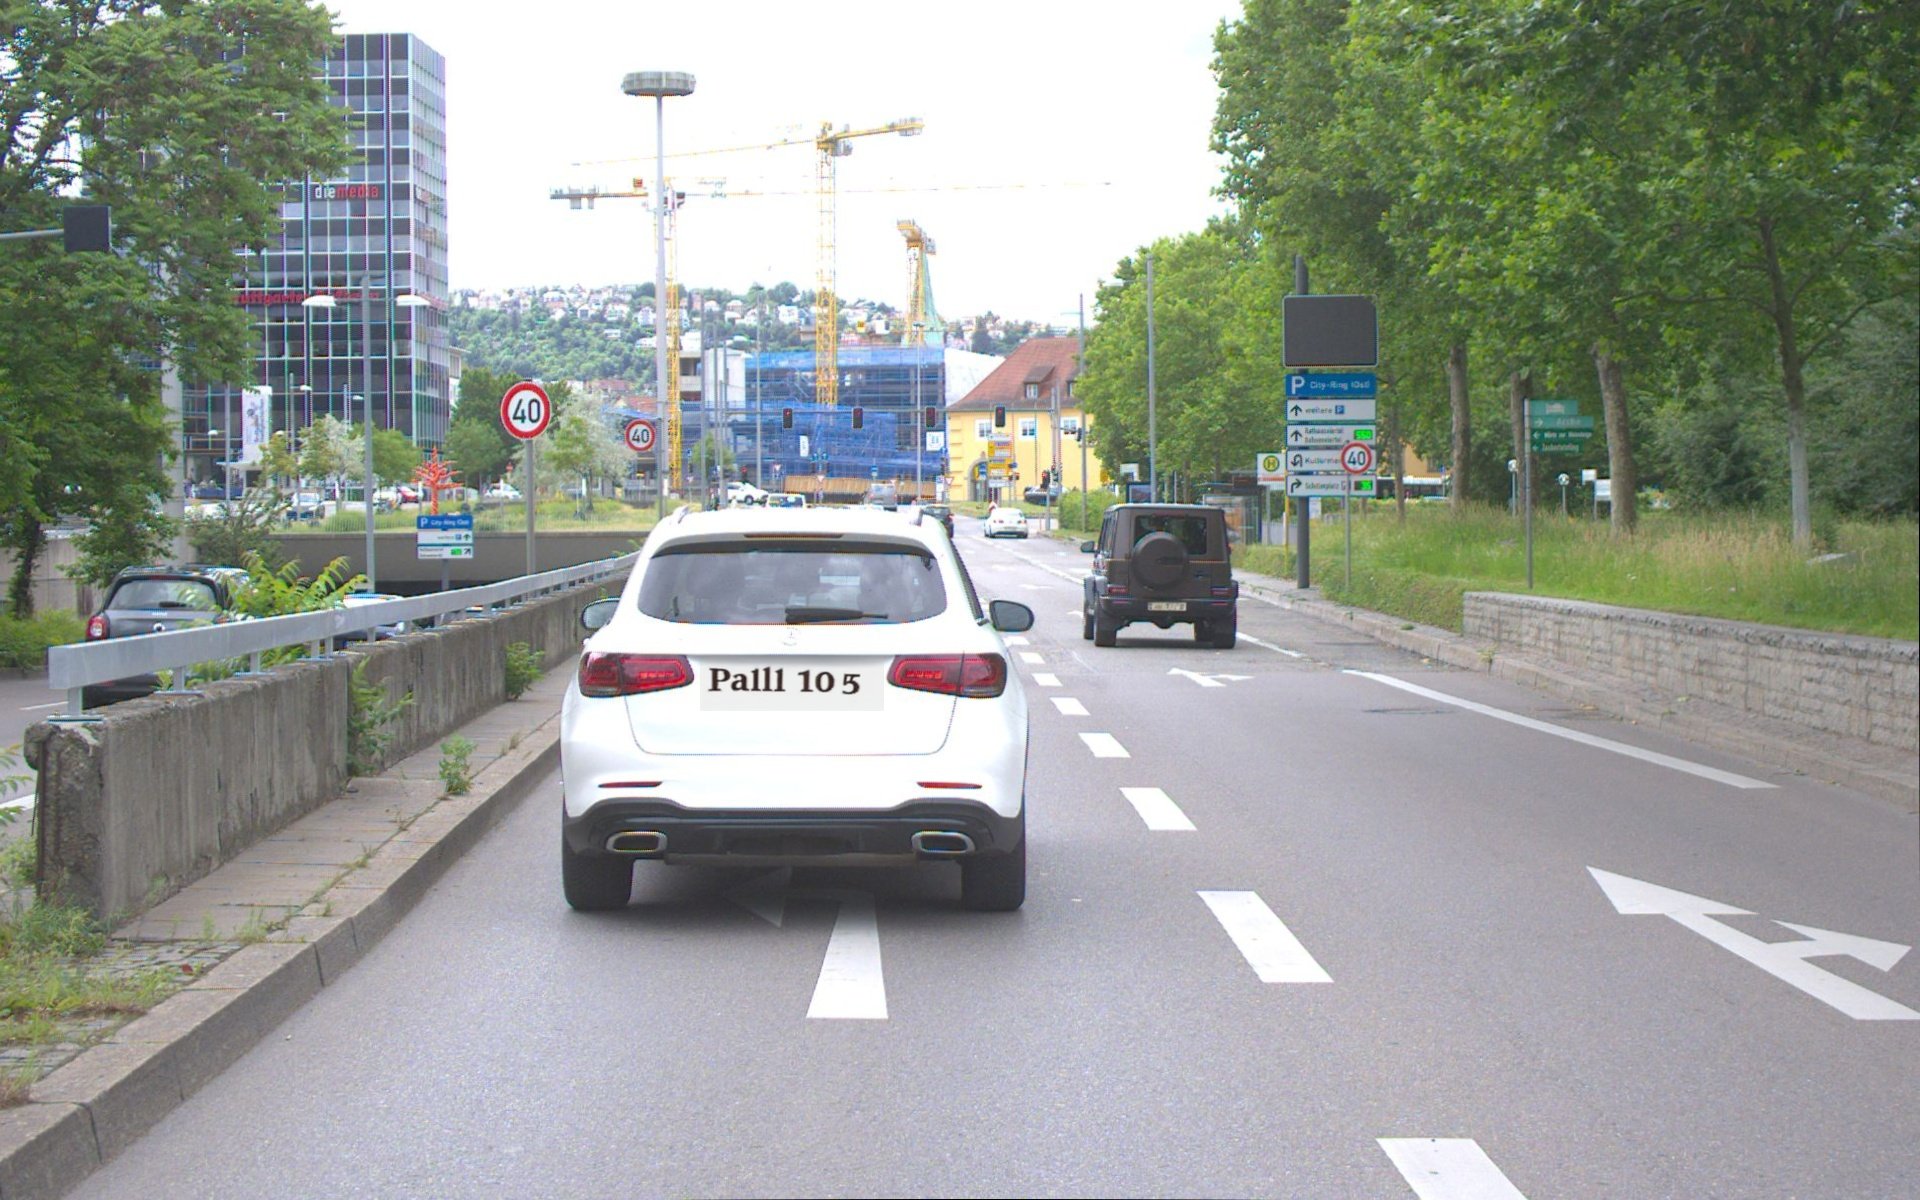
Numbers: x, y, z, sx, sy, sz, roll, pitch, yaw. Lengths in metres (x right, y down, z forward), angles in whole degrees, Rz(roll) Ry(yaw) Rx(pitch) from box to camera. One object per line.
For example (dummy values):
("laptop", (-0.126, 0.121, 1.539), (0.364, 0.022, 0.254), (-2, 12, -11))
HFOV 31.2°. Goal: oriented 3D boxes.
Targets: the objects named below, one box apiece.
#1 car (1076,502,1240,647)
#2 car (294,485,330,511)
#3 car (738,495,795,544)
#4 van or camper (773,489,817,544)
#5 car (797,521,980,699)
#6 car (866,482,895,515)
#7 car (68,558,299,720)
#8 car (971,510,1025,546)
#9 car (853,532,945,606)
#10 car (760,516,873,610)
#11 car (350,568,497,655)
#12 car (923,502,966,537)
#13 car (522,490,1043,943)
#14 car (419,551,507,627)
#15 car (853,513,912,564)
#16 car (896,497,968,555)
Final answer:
("car", (2.761, -0.357, 48.903), (1.977, 1.887, 4.707), (2, 0, 0))
("car", (-38.105, -5.973, 202.107), (1.831, 1.355, 3.869), (2, 0, -8))
("car", (-7.364, -3.056, 131.168), (1.993, 1.751, 4.000), (2, 0, -1))
("van or camper", (-7.450, -3.771, 155.266), (1.922, 2.312, 4.000), (1, -1, -3))
("car", (-0.737, 0.097, 34.414), (1.672, 1.622, 4.000), (2, 0, -2))
("car", (-5.286, -6.742, 228.269), (1.800, 2.007, 4.000), (2, 0, -3))
("car", (-7.699, 0.361, 34.345), (1.627, 1.504, 3.540), (1, 0, -3))
("car", (1.788, -3.408, 163.318), (1.993, 1.612, 4.001), (2, 0, -7))
("car", (-1.415, -0.726, 78.227), (1.922, 1.596, 4.001), (1, 1, -3))
("car", (-2.580, -0.687, 61.340), (1.922, 1.596, 4.001), (1, 1, -3))
("car", (-8.774, 0.157, 56.513), (1.719, 1.288, 4.000), (2, 1, 0))
("car", (-0.740, -3.799, 162.893), (1.719, 1.579, 4.001), (2, 1, -4))
("car", (-0.775, 0.419, 14.927), (1.940, 1.678, 4.000), (-1, 0, -3))
("car", (-11.658, -0.276, 80.862), (1.719, 1.673, 4.001), (2, 1, -4))
("car", (-2.892, -2.253, 127.189), (1.993, 1.774, 4.000), (2, 0, -3))
("car", (-0.881, -2.271, 106.199), (1.993, 1.656, 4.000), (2, 0, -3))
